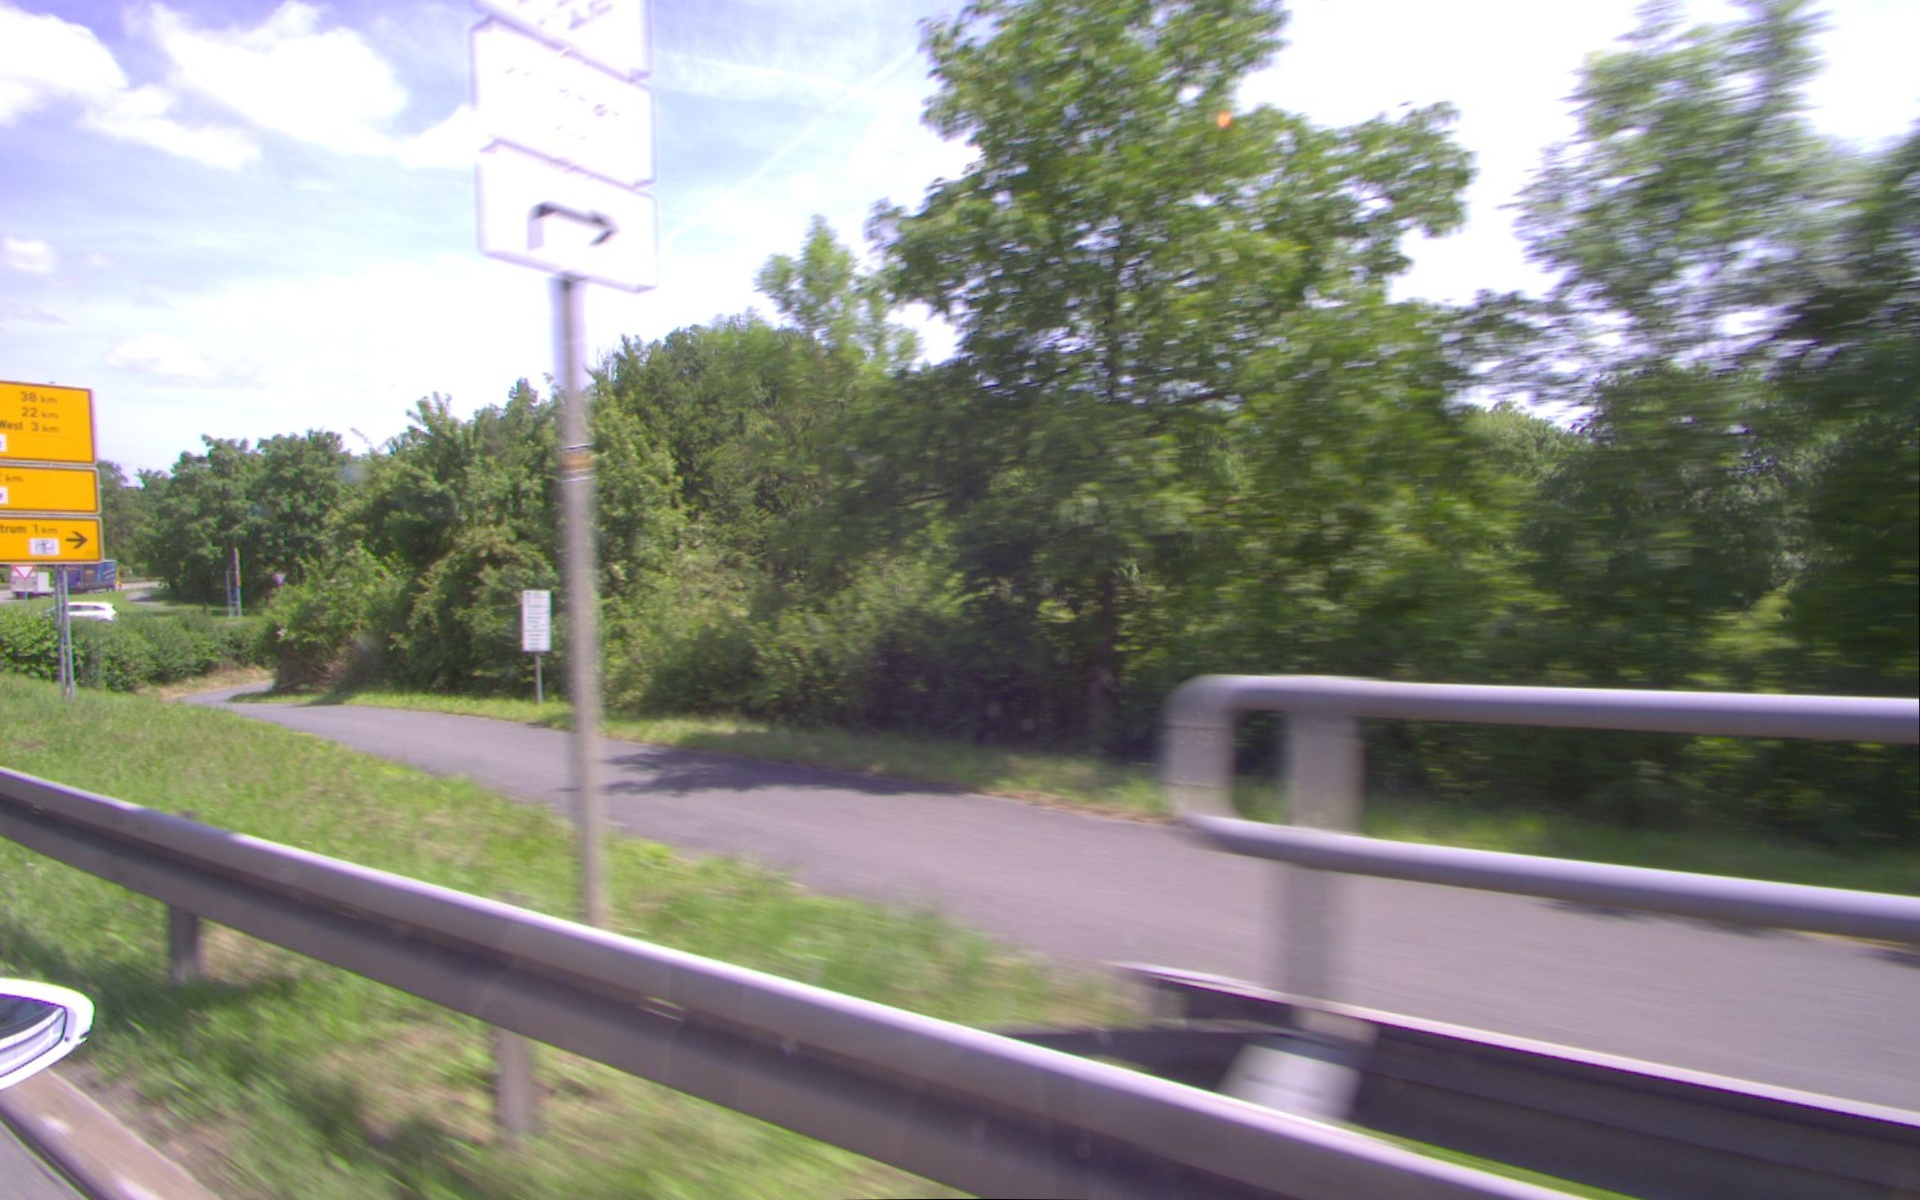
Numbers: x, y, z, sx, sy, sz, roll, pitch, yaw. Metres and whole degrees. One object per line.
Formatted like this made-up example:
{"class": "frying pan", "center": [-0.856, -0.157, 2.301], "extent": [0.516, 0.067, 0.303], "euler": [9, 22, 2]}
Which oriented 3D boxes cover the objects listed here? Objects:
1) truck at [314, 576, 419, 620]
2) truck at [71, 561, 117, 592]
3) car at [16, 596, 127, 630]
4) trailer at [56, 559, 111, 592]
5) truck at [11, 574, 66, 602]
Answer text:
{"class": "truck", "center": [-39.829, -0.073, 67.315], "extent": [5.947, 2.762, 2.489], "euler": [1, -2, -31]}
{"class": "truck", "center": [-110.522, -2.920, 127.853], "extent": [3.214, 3.734, 6.213], "euler": [1, 0, -29]}
{"class": "car", "center": [-48.564, 0.757, 54.792], "extent": [1.980, 1.740, 4.403], "euler": [-2, -3, 44]}
{"class": "trailer", "center": [-108.539, -2.935, 124.173], "extent": [3.214, 3.734, 9.205], "euler": [1, 0, -29]}
{"class": "truck", "center": [-100.780, -1.257, 109.613], "extent": [2.823, 2.986, 7.069], "euler": [1, 0, -29]}
